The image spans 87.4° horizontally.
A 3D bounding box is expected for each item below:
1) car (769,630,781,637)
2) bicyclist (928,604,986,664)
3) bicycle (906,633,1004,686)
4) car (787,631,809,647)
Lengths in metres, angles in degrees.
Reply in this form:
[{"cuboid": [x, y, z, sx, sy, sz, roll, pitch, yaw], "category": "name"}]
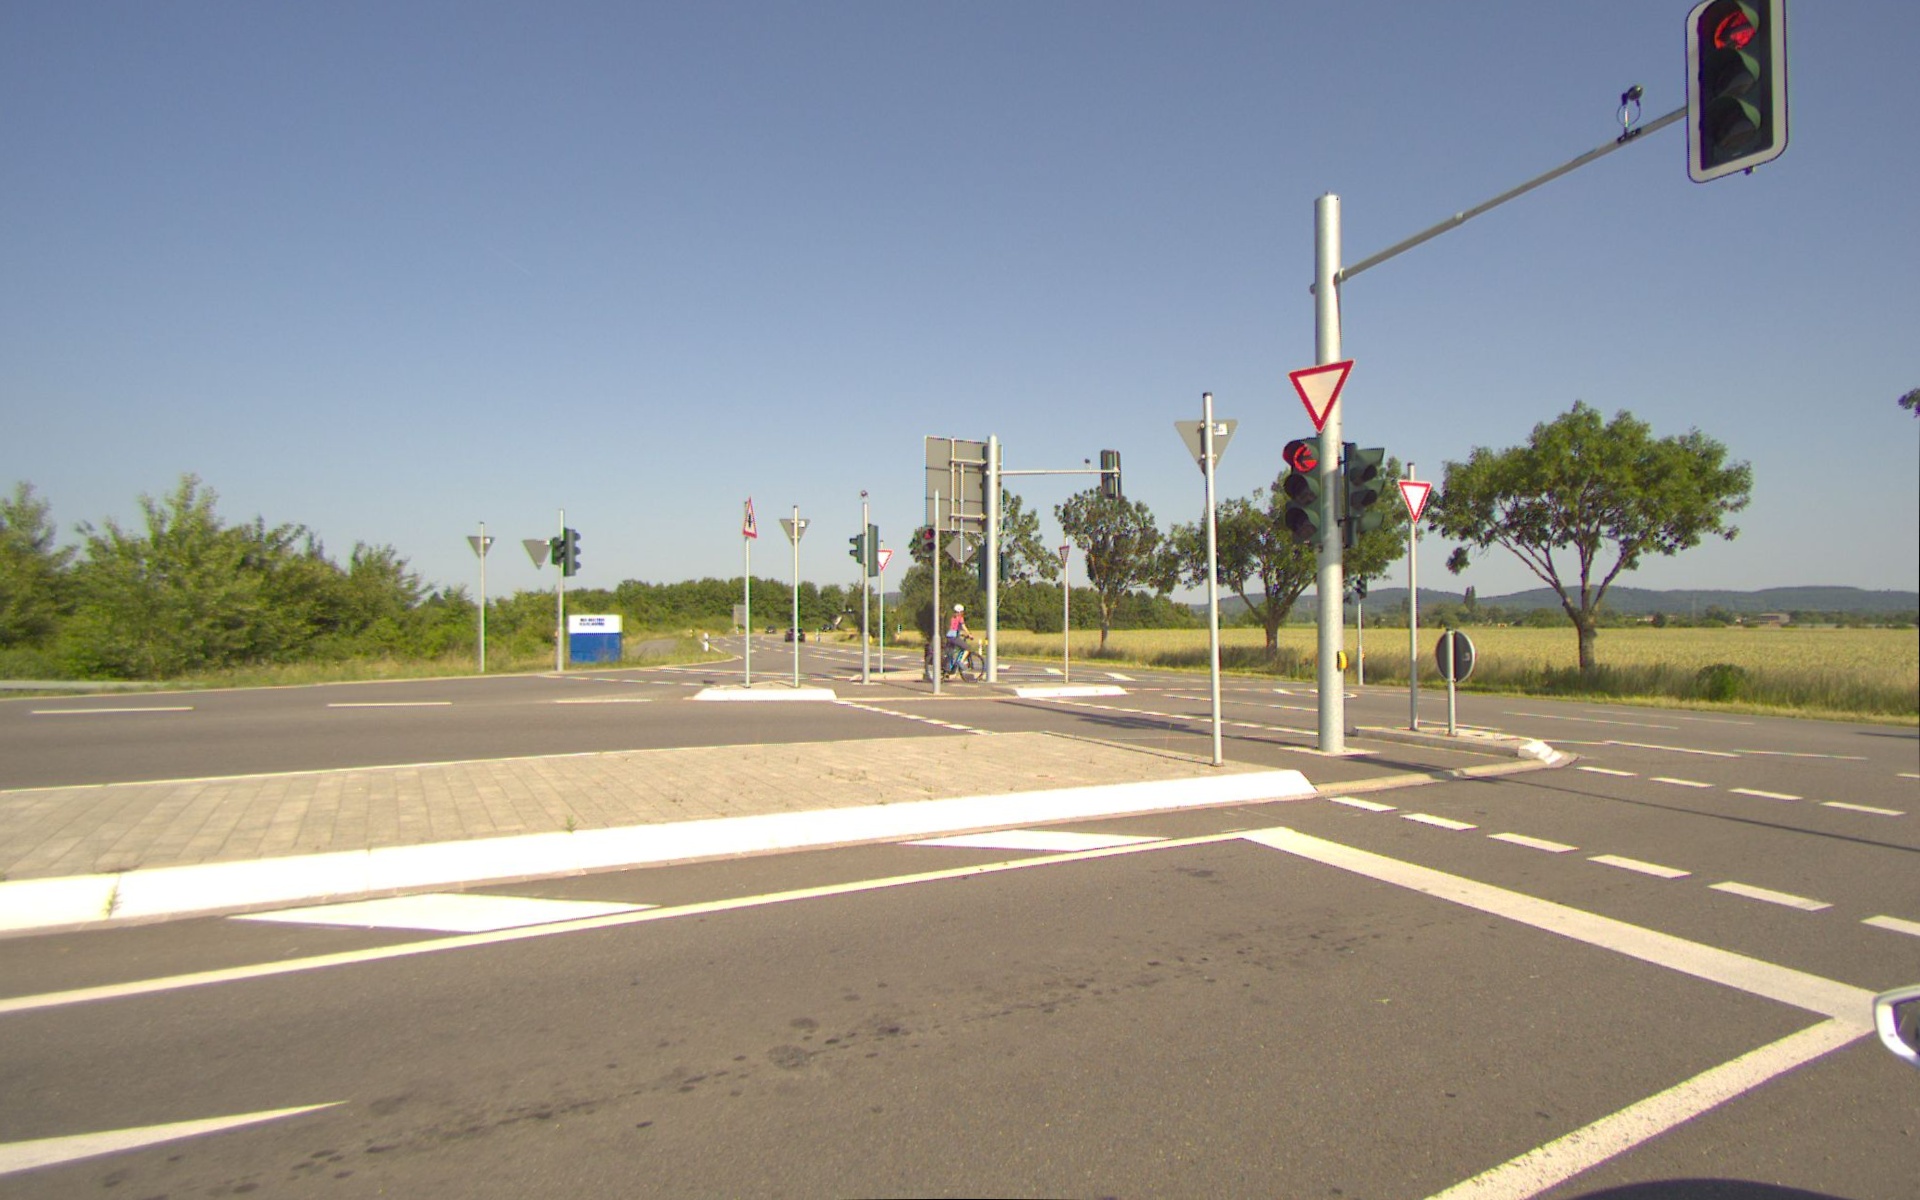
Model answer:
[{"cuboid": [-32.572, 5.900, 176.705, 1.707, 1.127, 3.998, 2, -2, -5], "category": "car"}, {"cuboid": [-0.068, 0.802, 23.765, 1.066, 1.369, 0.848, 3, -1, -41], "category": "bicyclist"}, {"cuboid": [-0.100, 1.388, 23.722, 2.135, 1.164, 1.060, 3, -2, -42], "category": "bicycle"}, {"cuboid": [-16.317, 3.926, 100.857, 1.701, 1.544, 3.456, 2, -1, -17], "category": "car"}]
